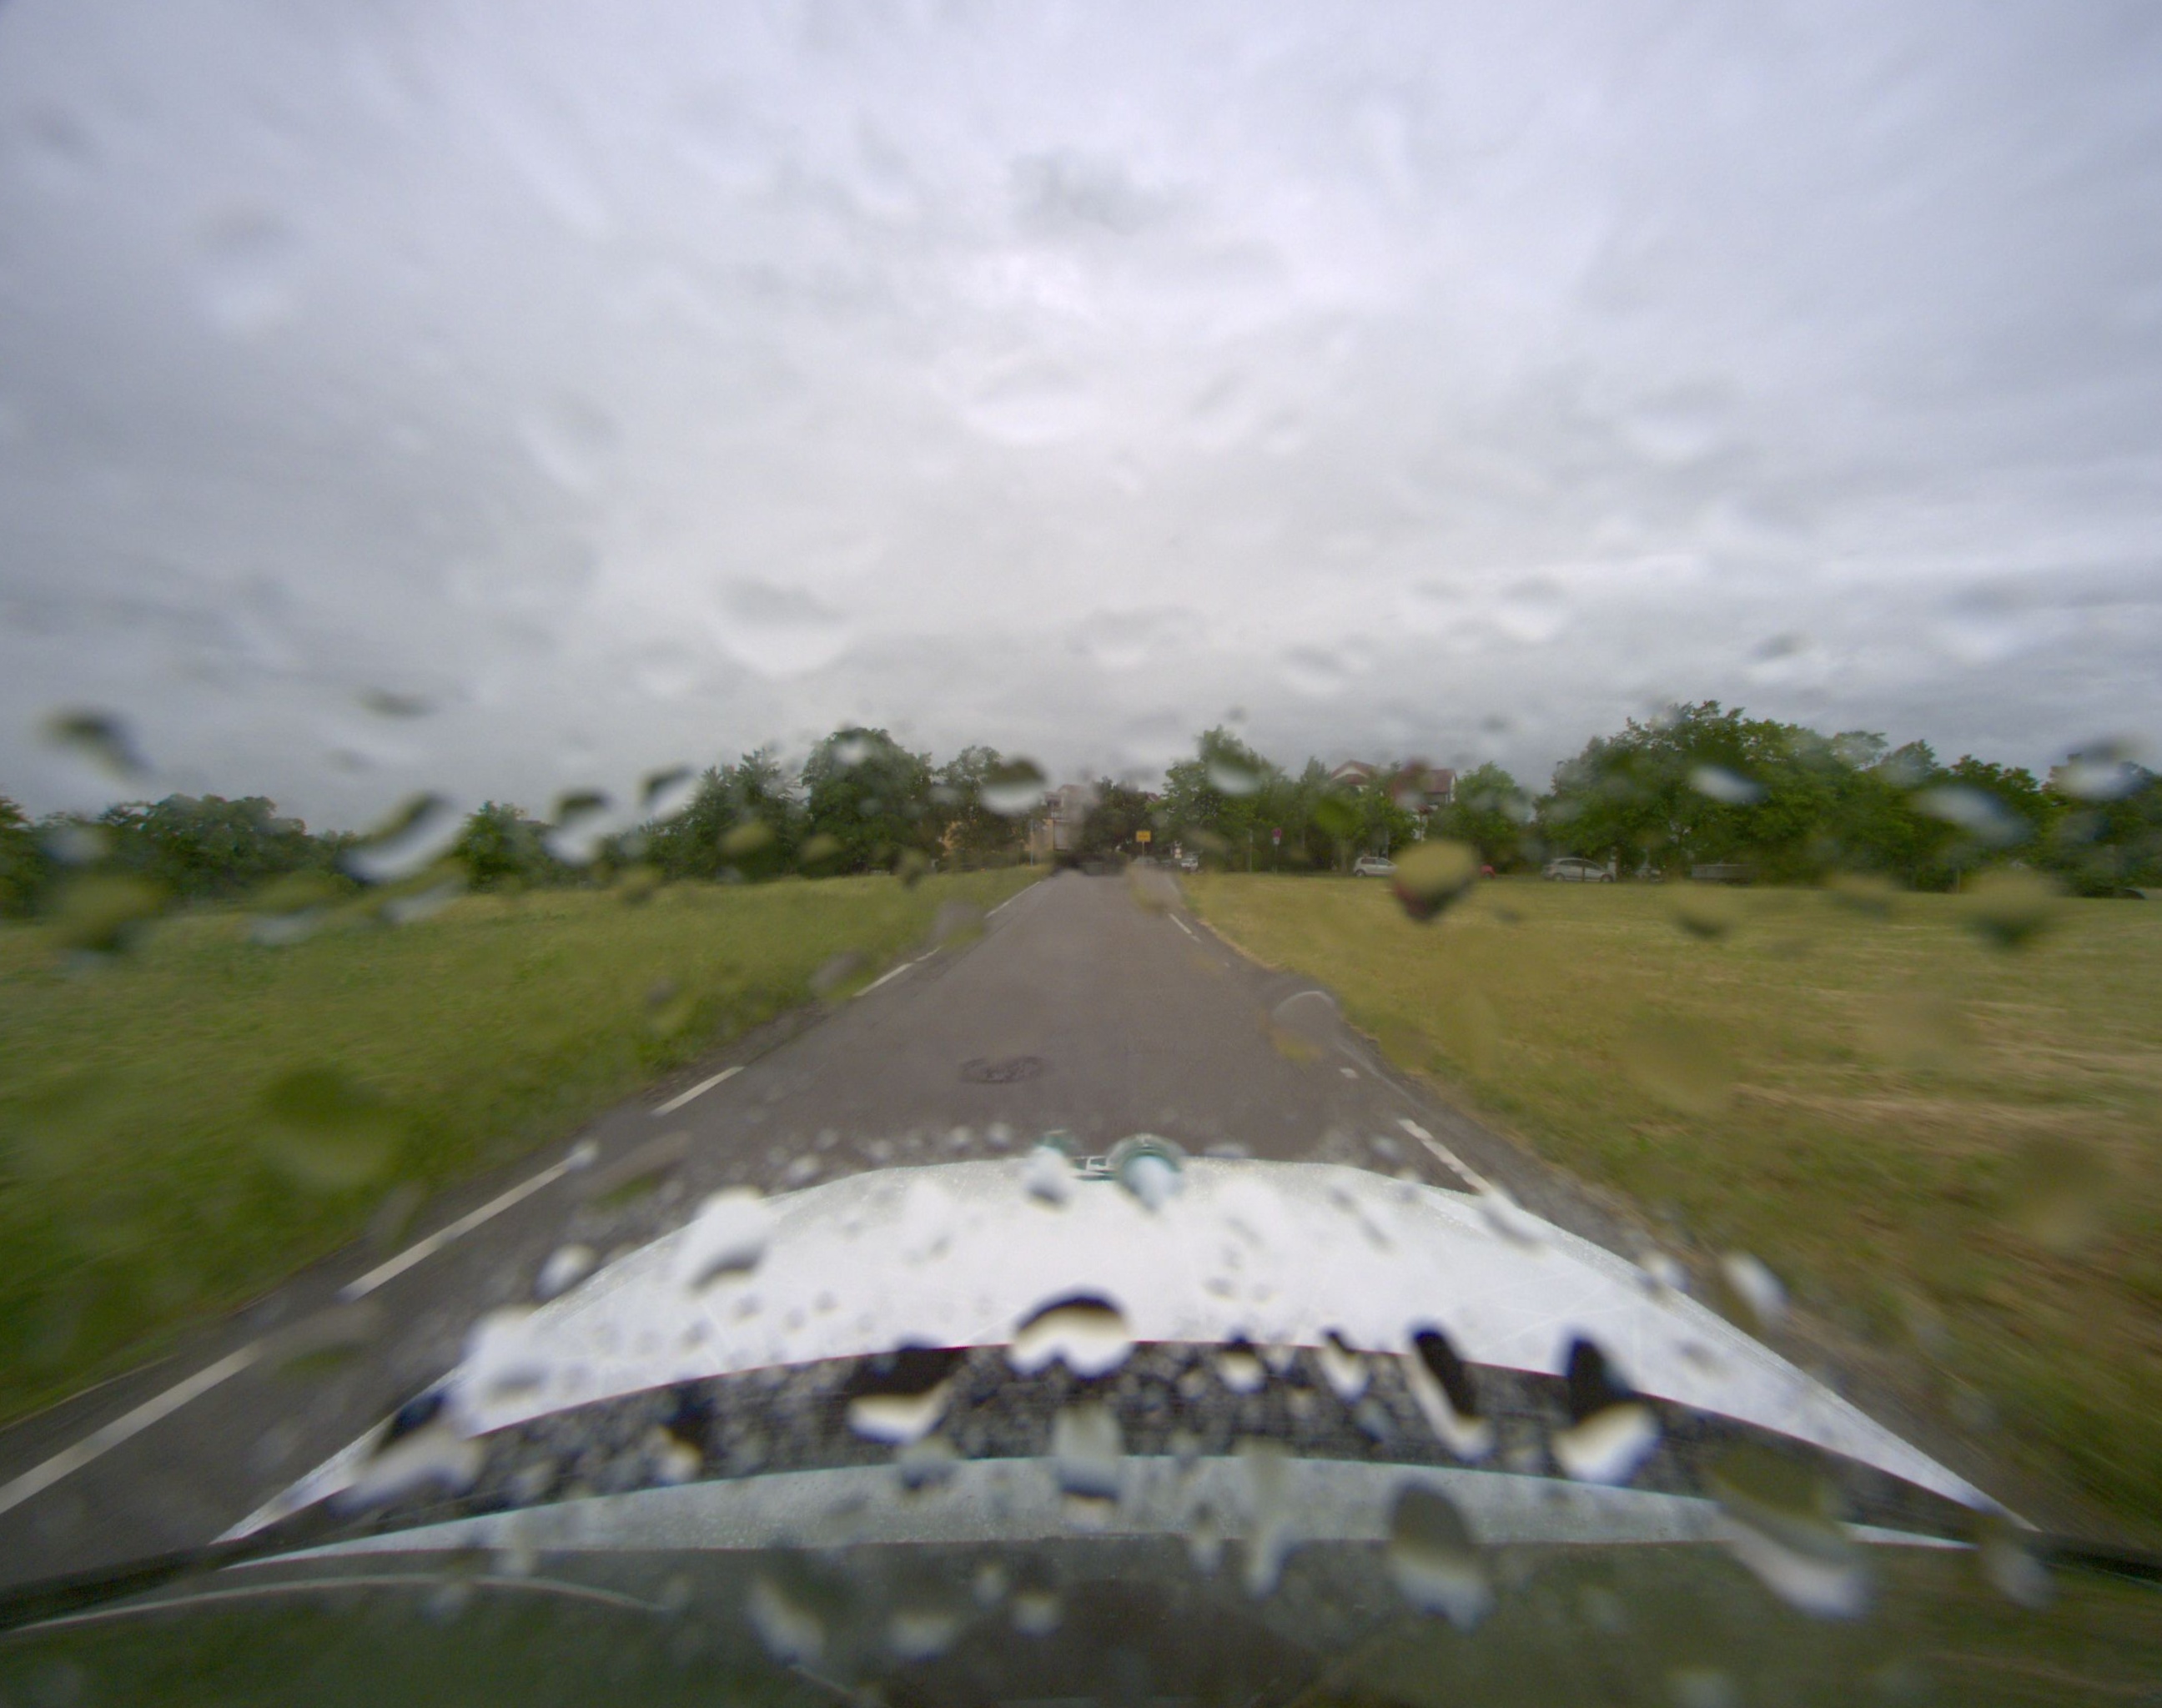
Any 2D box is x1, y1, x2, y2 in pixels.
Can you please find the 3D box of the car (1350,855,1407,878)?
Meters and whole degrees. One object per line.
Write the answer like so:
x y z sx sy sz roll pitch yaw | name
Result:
19.894 0.828 54.526 3.514 1.479 1.688 -1 -1 19 | car

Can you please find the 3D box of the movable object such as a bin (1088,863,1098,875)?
1.095 1.376 73.022 0.688 1.075 0.546 -1 0 22 | movable object such as a bin

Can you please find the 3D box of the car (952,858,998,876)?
-8.980 1.111 69.006 3.649 1.552 1.702 -1 -2 31 | car

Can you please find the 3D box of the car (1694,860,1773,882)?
39.426 1.002 49.268 3.295 1.281 1.740 0 -1 12 | car

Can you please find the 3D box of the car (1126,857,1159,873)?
6.307 1.097 83.631 1.759 1.518 4.162 2 0 29 | car

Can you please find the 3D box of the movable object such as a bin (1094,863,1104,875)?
1.626 1.367 74.175 0.688 1.055 0.608 -1 0 22 | movable object such as a bin

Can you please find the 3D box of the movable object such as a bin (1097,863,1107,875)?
1.919 1.371 74.846 0.688 1.055 0.608 -1 0 22 | movable object such as a bin

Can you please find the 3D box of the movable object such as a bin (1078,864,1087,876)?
0.140 1.396 72.691 0.659 1.073 0.546 -1 0 22 | movable object such as a bin

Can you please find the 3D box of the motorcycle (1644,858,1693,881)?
35.835 0.941 49.716 2.242 1.302 0.974 1 0 13 | motorcycle

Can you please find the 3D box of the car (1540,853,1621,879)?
31.423 0.735 51.360 3.949 1.552 1.859 1 0 13 | car

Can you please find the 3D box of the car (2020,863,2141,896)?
56.366 1.400 45.999 3.962 1.607 1.968 3 0 11 | car

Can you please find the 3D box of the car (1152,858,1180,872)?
9.286 1.228 88.635 1.619 1.409 3.627 2 0 31 | car

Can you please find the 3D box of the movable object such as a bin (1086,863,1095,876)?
0.852 1.388 72.442 0.688 1.075 0.605 -1 0 22 | movable object such as a bin

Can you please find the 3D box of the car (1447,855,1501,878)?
25.498 0.784 52.890 2.978 1.436 1.561 0 -1 18 | car

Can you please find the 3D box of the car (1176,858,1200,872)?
12.258 1.267 93.112 1.496 1.476 3.294 2 0 32 | car

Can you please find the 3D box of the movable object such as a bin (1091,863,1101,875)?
1.331 1.371 73.600 0.688 1.067 0.582 -1 0 22 | movable object such as a bin

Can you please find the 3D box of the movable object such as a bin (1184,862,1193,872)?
10.036 1.204 75.980 0.565 0.931 0.533 0 -1 35 | movable object such as a bin
